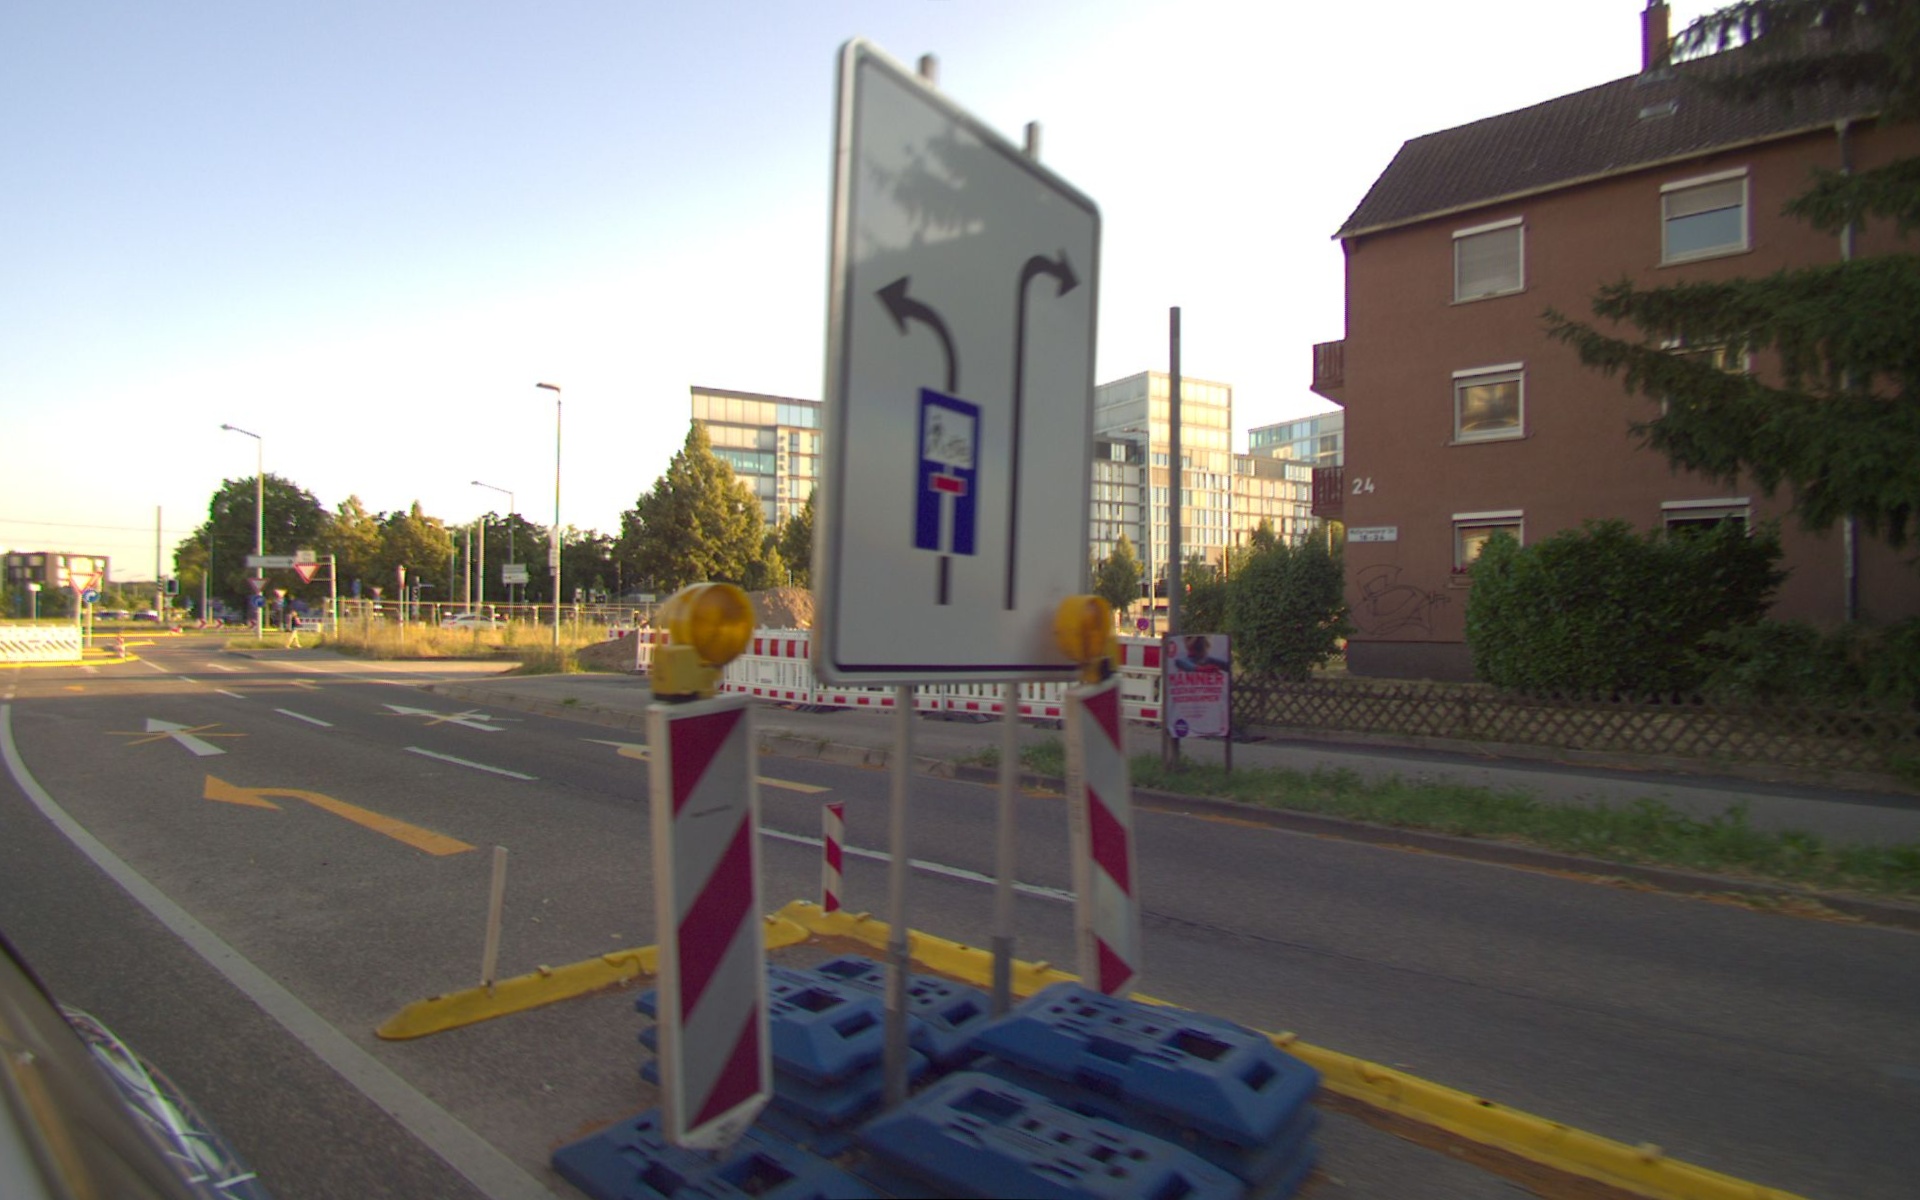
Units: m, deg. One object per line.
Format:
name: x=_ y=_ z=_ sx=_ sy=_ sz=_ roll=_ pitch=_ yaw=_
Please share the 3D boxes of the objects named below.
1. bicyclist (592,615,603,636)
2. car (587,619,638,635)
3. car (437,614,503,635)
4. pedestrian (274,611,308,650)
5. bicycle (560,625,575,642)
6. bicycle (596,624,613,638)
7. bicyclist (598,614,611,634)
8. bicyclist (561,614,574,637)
bicyclist: x=-26.210 y=1.825 z=73.127 sx=0.689 sy=1.502 sz=0.977 roll=2 pitch=-1 yaw=-23
car: x=-34.671 y=2.691 z=100.994 sx=4.515 sy=1.432 sz=1.827 roll=2 pitch=-1 yaw=-33
car: x=-34.914 y=1.741 z=72.146 sx=1.629 sy=1.475 sz=3.951 roll=0 pitch=-1 yaw=36
pedestrian: x=-29.567 y=1.358 z=44.727 sx=0.784 sy=1.708 sz=0.918 roll=0 pitch=-2 yaw=29
bicycle: x=-26.179 y=2.219 z=67.497 sx=0.689 sy=1.052 sz=2.086 roll=2 pitch=-1 yaw=-27
bicycle: x=-27.391 y=2.382 z=77.860 sx=0.689 sy=1.052 sz=2.084 roll=2 pitch=-1 yaw=-35
bicyclist: x=-27.390 y=1.842 z=77.884 sx=0.689 sy=1.502 sz=0.976 roll=2 pitch=-1 yaw=-34
bicyclist: x=-26.253 y=1.723 z=67.645 sx=0.689 sy=1.502 sz=0.977 roll=2 pitch=-1 yaw=-27
